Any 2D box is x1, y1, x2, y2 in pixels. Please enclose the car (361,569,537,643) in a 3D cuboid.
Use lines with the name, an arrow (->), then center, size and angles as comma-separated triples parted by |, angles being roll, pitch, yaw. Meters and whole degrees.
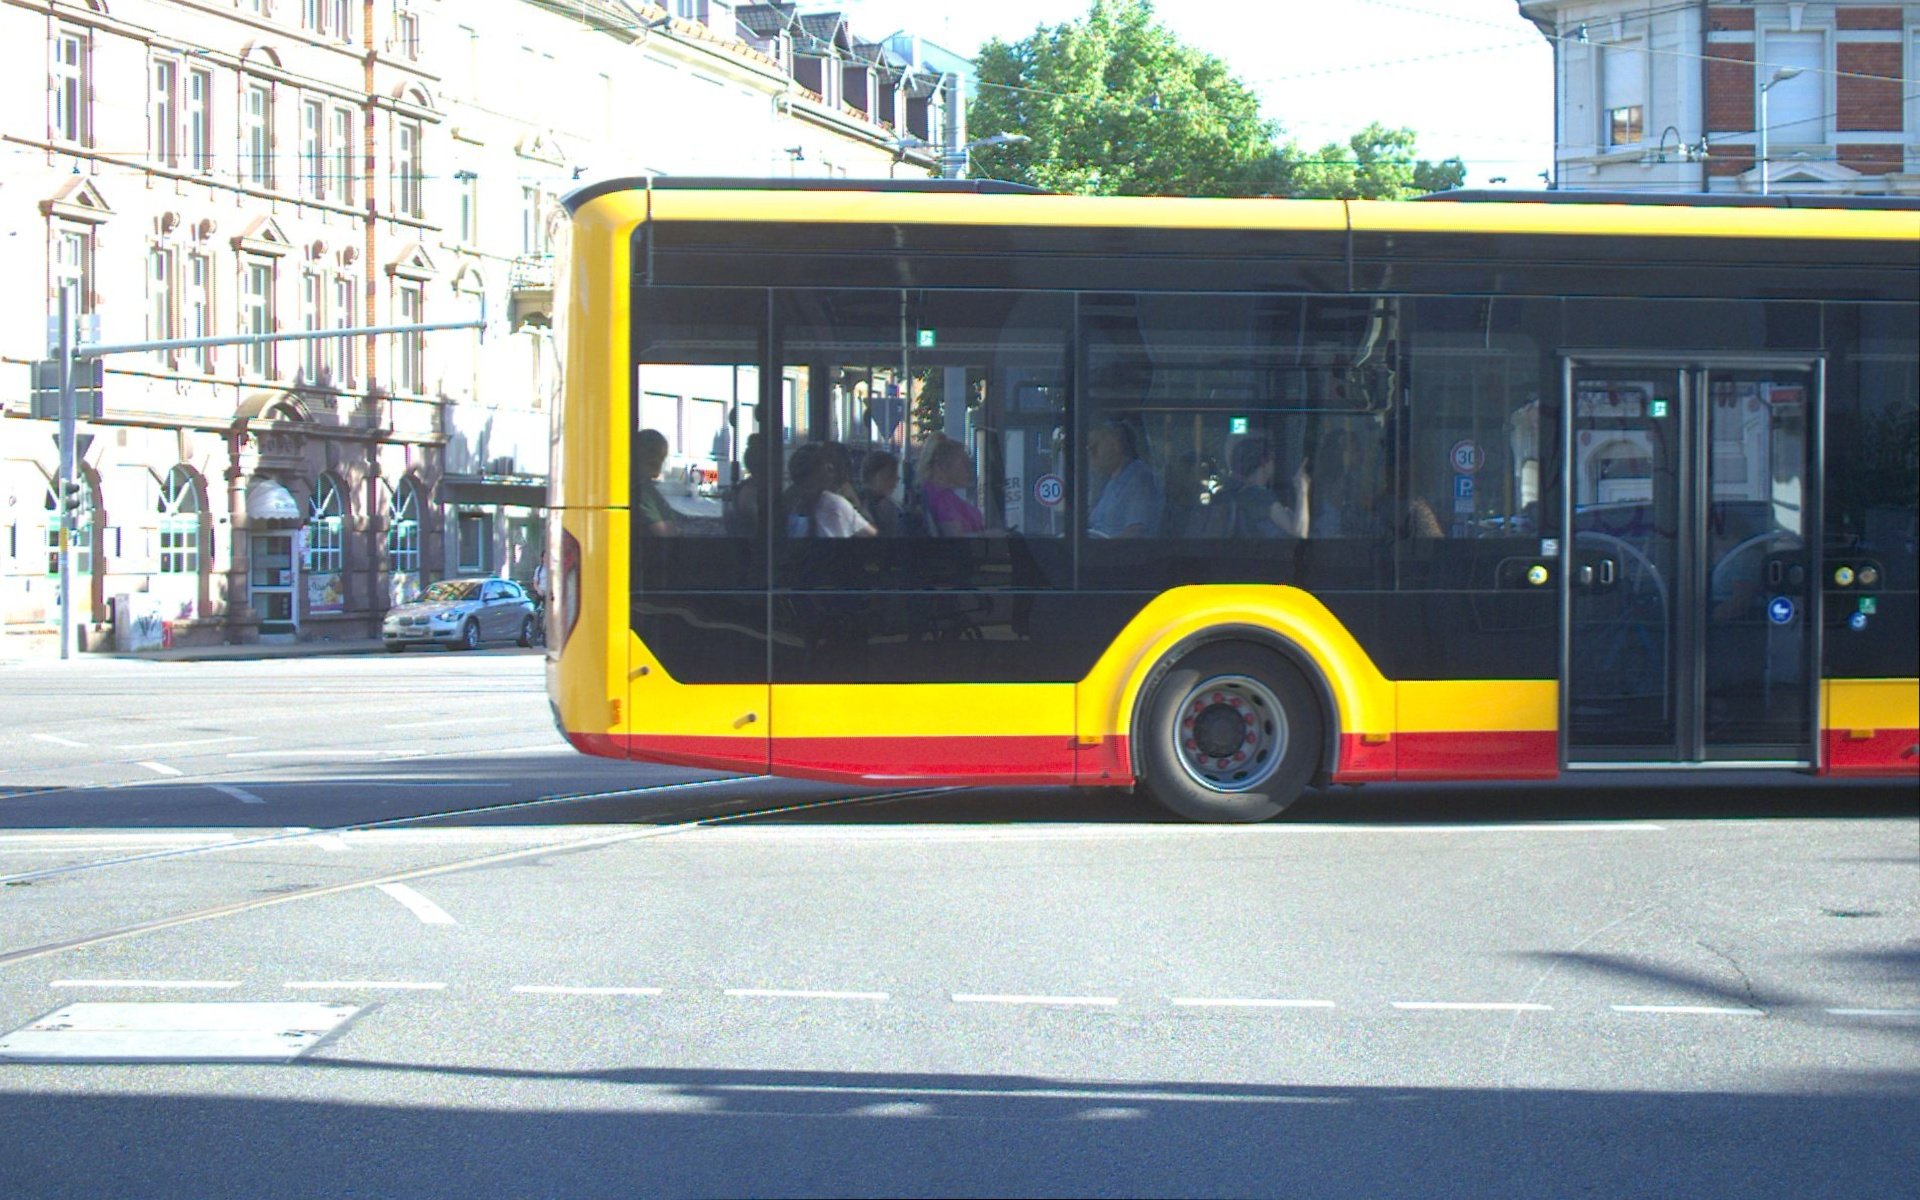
car -> -9.924, 0.093, 67.045 | 1.995, 1.357, 3.816 | 0, 1, 16

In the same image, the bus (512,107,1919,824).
bus -> 1.951, -0.653, 18.618 | 8.612, 3.445, 2.788 | 1, 2, -8

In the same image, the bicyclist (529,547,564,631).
bicyclist -> -7.837, -0.211, 65.195 | 0.489, 1.596, 0.666 | 0, 1, 10

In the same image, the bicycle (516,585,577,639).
bicycle -> -7.845, 0.223, 65.302 | 0.655, 0.997, 1.664 | 1, 1, 12
